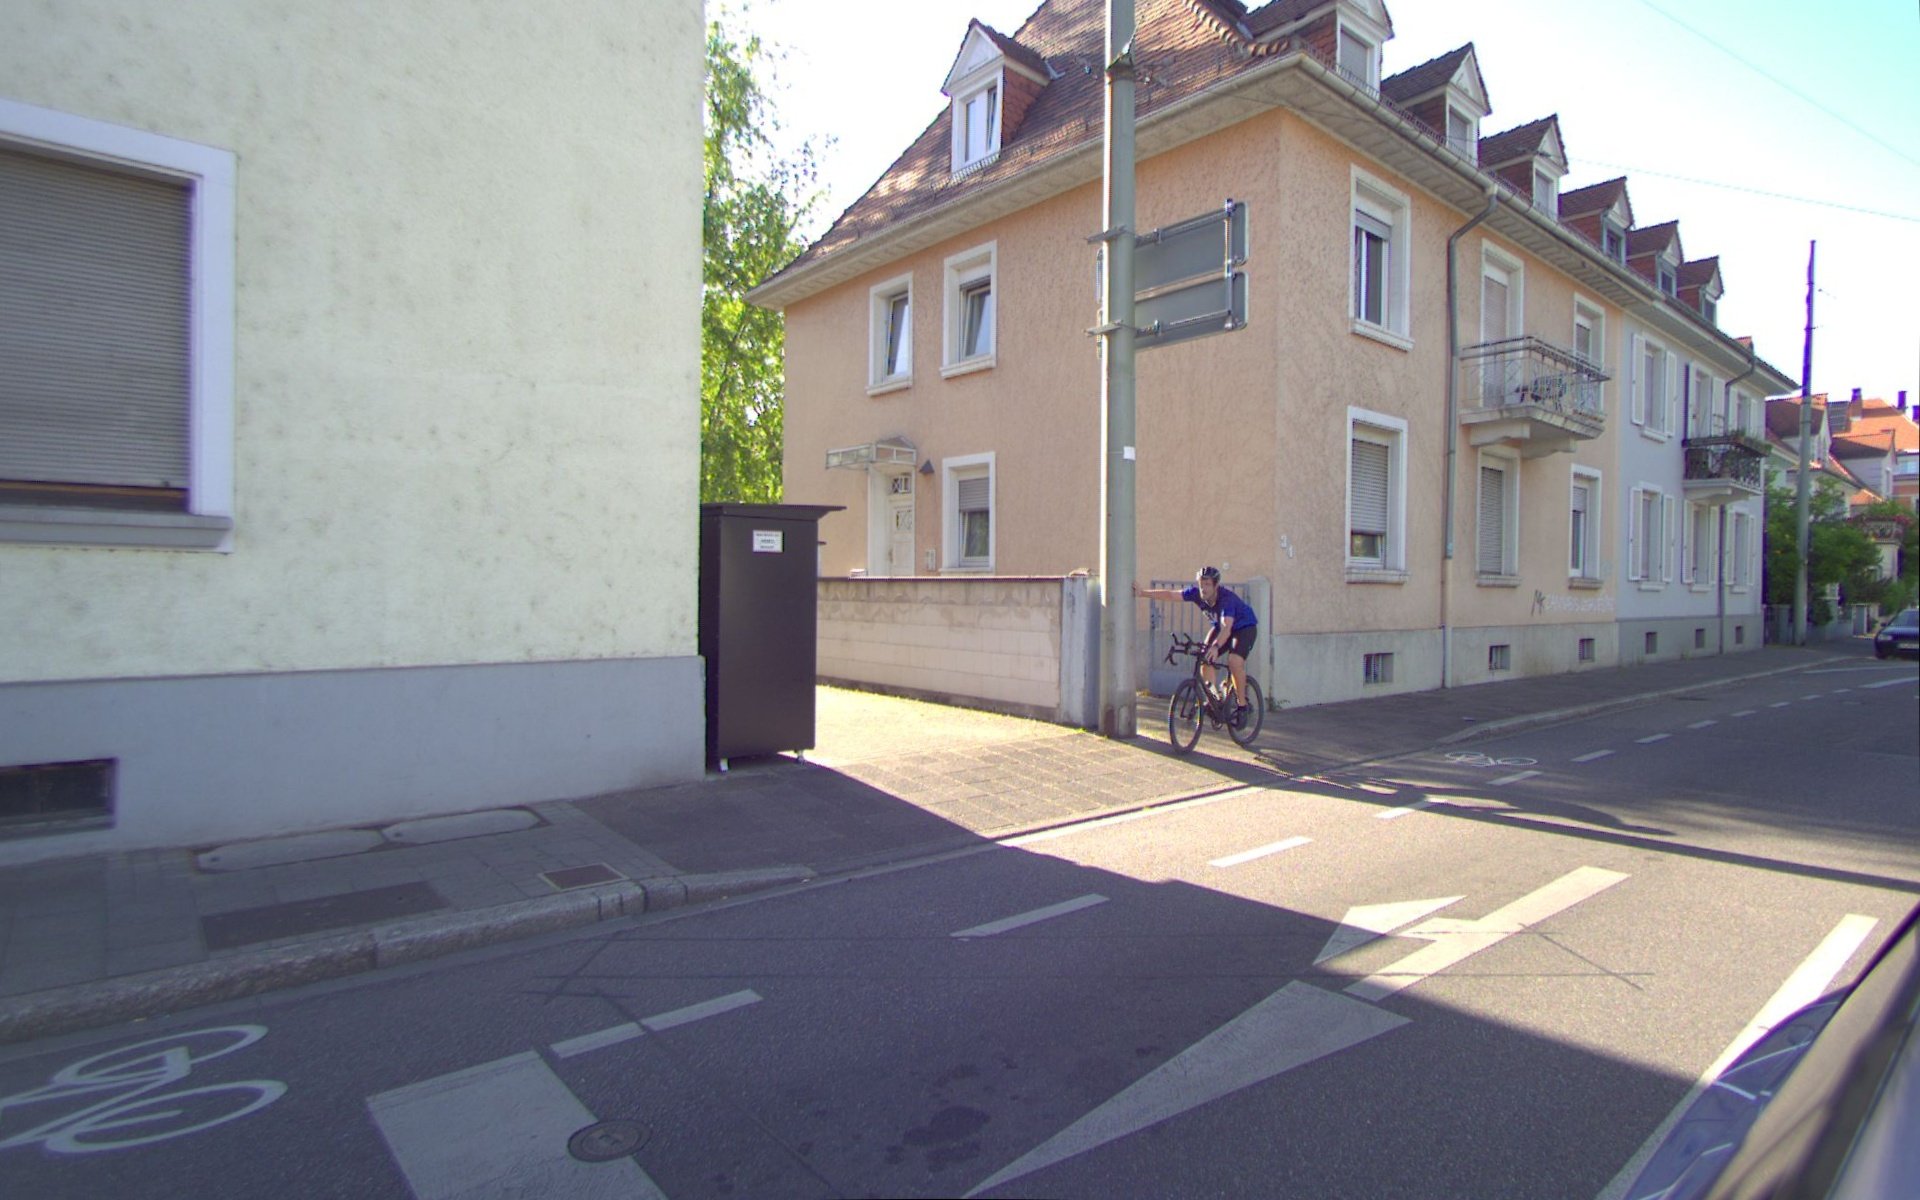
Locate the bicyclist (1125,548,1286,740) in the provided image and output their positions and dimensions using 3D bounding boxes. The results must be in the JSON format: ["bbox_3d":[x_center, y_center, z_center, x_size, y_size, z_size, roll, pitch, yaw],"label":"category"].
[{"bbox_3d":[2.313,0.373,9.590,0.870,1.627,1.052,1,5,-41],"label":"bicyclist"}]

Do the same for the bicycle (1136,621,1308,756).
[{"bbox_3d":[2.480,0.779,9.475,1.744,1.081,0.592,0,5,-41],"label":"bicycle"}]

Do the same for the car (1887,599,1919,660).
[{"bbox_3d":[26.691,0.755,27.368,3.742,1.601,1.696,0,-1,-36],"label":"car"}]
